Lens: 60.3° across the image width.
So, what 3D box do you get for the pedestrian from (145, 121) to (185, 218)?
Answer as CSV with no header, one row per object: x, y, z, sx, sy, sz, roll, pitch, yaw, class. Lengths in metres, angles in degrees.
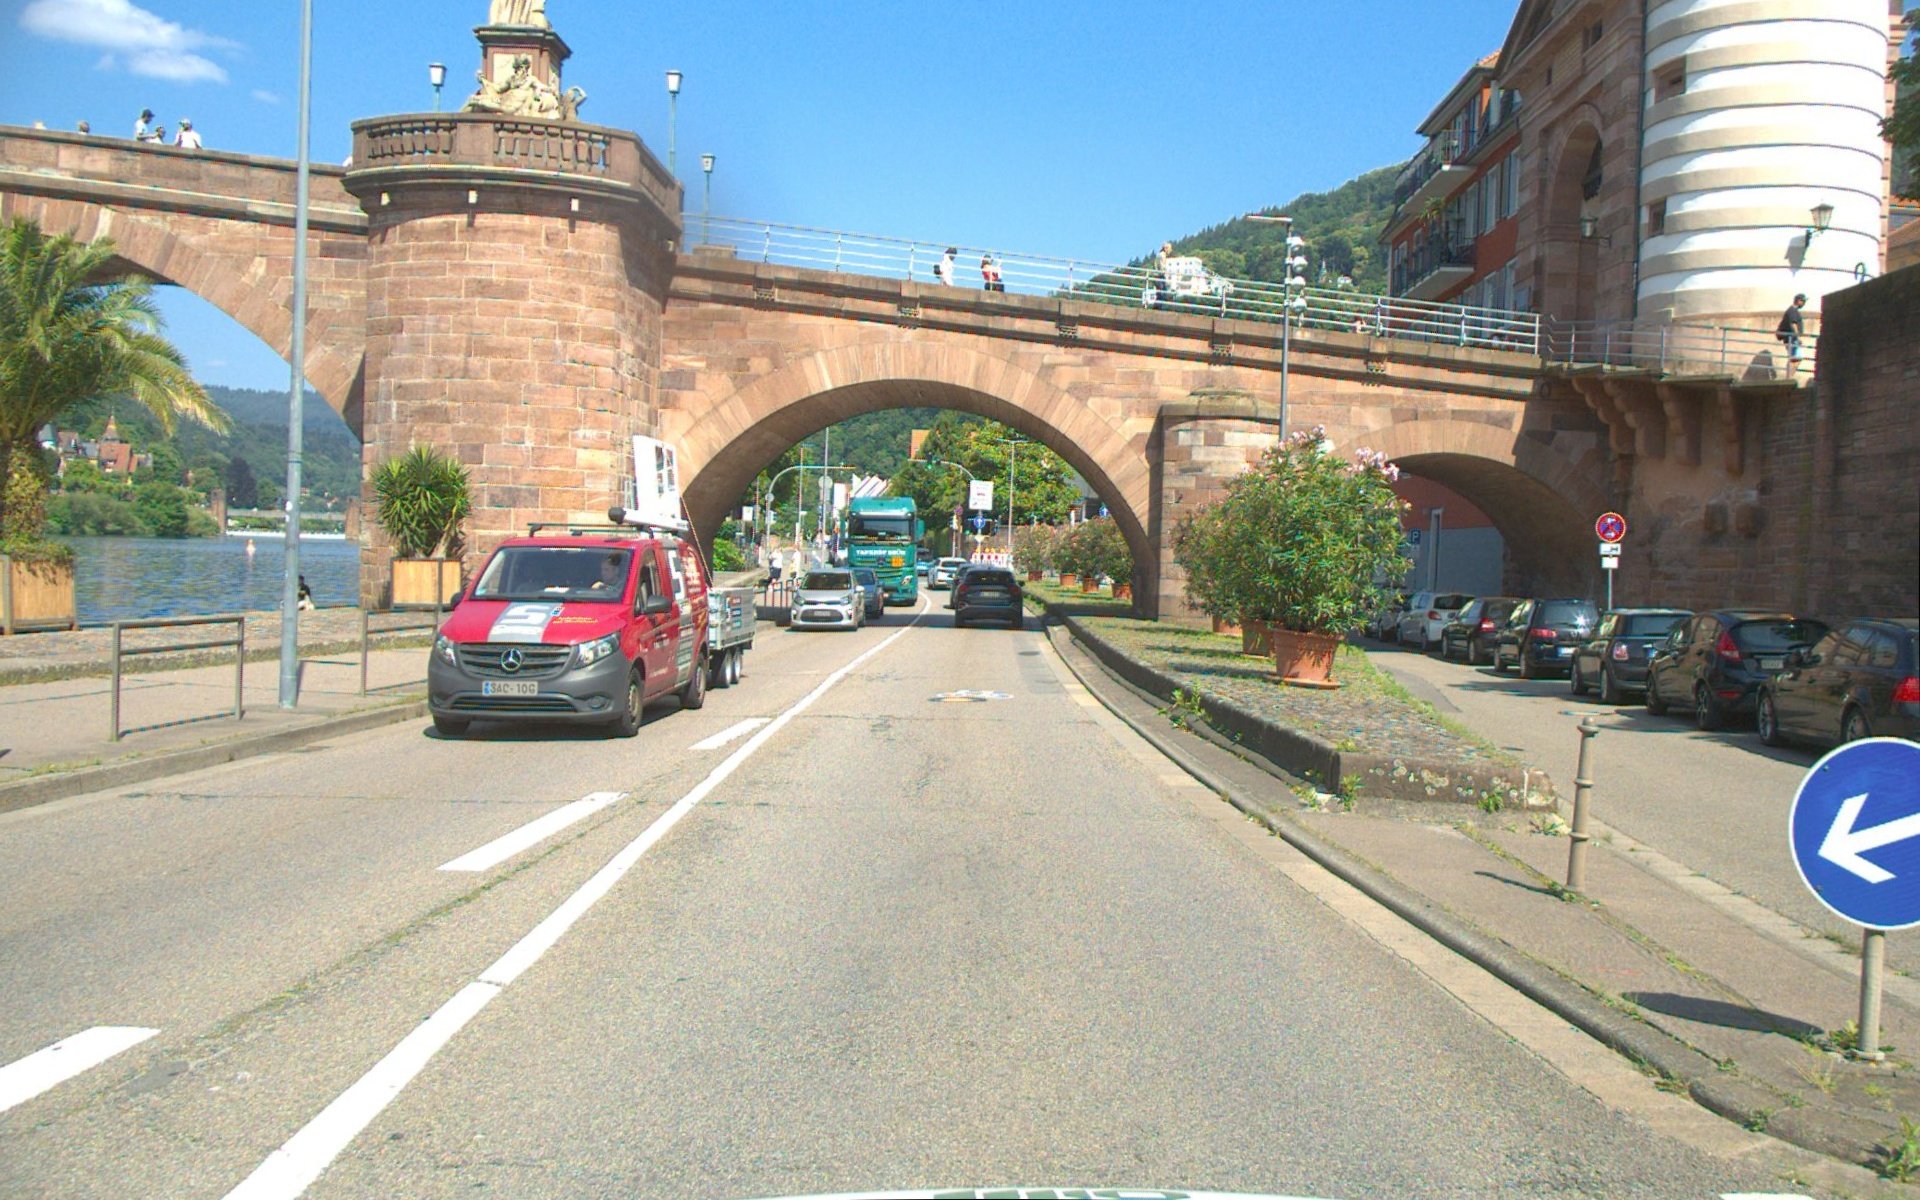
-18.534,-10.032,38.581,0.611,2.049,0.694,1,0,-6,pedestrian

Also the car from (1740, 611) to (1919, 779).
9.333,0.844,16.473,1.674,1.412,4.411,0,0,9,car

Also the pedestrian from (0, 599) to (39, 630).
-13.930,0.214,23.538,0.631,0.429,1.743,0,1,2,pedestrian

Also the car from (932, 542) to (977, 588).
-0.278,-1.609,76.306,1.953,2.049,3.999,1,1,-2,car

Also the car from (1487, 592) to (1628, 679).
11.581,0.640,32.288,1.738,1.528,3.990,1,1,7,car

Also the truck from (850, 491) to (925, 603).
-2.546,-1.934,59.724,2.472,3.813,6.247,0,2,0,truck

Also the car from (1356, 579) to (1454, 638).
12.631,0.209,47.232,1.853,1.518,4.419,1,1,4,car

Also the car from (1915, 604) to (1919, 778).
8.969,0.816,12.370,1.675,1.483,3.549,2,1,2,car

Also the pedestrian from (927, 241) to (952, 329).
-0.513,-7.762,40.804,0.569,2.049,0.586,1,0,1,pedestrian

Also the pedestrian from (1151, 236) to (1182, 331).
4.738,-7.257,37.969,0.610,2.049,0.695,1,0,2,pedestrian

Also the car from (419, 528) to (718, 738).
-3.811,0.243,16.956,1.835,1.859,4.545,0,1,2,car

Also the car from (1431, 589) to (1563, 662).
12.078,0.530,37.498,1.738,1.461,4.495,1,1,3,car

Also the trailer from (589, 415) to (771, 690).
-3.650,-0.609,22.096,1.705,3.378,3.385,0,1,2,trailer

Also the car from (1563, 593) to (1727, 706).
10.637,0.708,25.940,1.557,1.547,3.907,2,1,10,car

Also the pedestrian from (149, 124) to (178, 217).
-18.935,-10.198,39.329,0.449,2.049,0.553,1,0,-6,pedestrian

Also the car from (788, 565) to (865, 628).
-3.223,-0.118,40.520,1.503,1.461,3.729,0,1,1,car

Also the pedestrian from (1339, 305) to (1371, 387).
10.245,-6.587,42.956,0.670,2.049,0.586,1,0,1,pedestrian

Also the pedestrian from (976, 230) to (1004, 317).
0.746,-8.107,41.125,0.670,2.049,0.586,1,0,1,pedestrian

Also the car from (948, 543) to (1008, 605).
0.587,-0.891,56.972,1.953,2.049,3.999,1,1,-1,car

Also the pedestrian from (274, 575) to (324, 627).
-16.550,0.022,41.439,0.711,1.262,1.146,1,0,5,pedestrian

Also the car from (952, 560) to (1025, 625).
0.736,-0.226,43.311,1.819,1.550,4.001,1,2,1,car

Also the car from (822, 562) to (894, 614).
-2.994,-0.373,49.228,1.687,1.462,4.402,0,1,2,car

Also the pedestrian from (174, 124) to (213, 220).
-17.941,-10.024,38.742,0.611,2.049,0.694,1,0,-6,pedestrian

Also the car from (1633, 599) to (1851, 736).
9.899,0.782,21.214,1.463,1.510,3.719,2,1,8,car

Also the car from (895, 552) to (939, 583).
-2.487,-1.827,94.366,1.957,1.691,3.992,2,1,-9,car
